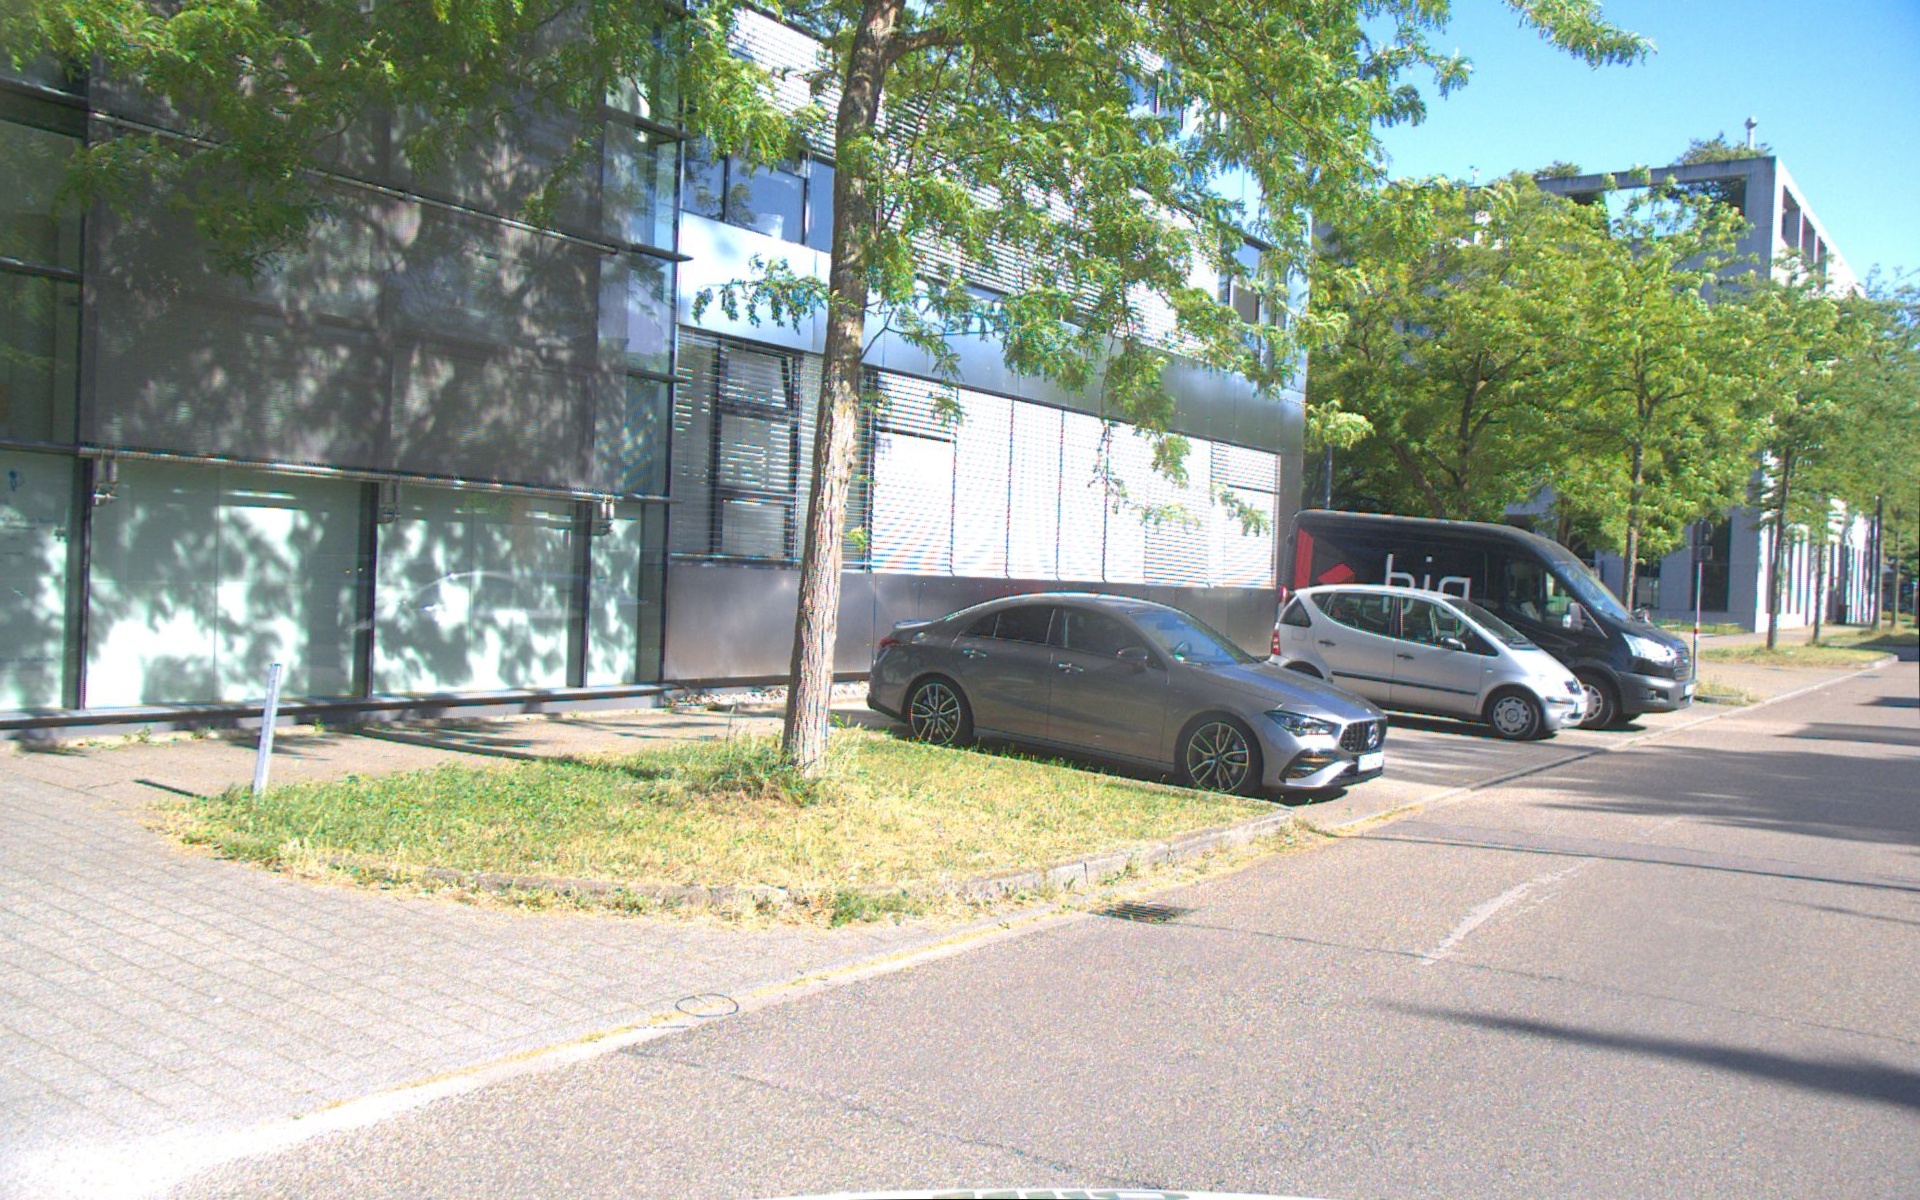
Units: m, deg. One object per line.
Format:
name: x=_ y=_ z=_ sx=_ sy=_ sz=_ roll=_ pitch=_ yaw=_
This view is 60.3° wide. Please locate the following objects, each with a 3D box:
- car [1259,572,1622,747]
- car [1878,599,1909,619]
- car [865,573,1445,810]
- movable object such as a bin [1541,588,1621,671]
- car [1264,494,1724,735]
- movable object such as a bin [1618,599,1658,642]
car: x=5.810 y=0.646 z=20.100 sx=3.765 sy=1.673 sz=1.887 roll=5 pitch=2 yaw=33
car: x=69.792 y=0.677 z=123.610 sx=1.871 sy=1.365 sz=3.784 roll=3 pitch=2 yaw=32
car: x=1.561 y=0.651 z=13.990 sx=4.459 sy=1.373 sz=1.886 roll=6 pitch=3 yaw=35
movable object such as a bin: x=11.484 y=0.531 z=30.633 sx=1.266 sy=1.438 sz=1.228 roll=3 pitch=1 yaw=17
car: x=7.118 y=0.090 z=22.328 sx=5.363 sy=2.667 sz=2.224 roll=6 pitch=2 yaw=34
movable object such as a bin: x=19.913 y=0.580 z=48.589 sx=0.651 sy=1.202 sz=1.929 roll=3 pitch=1 yaw=35
